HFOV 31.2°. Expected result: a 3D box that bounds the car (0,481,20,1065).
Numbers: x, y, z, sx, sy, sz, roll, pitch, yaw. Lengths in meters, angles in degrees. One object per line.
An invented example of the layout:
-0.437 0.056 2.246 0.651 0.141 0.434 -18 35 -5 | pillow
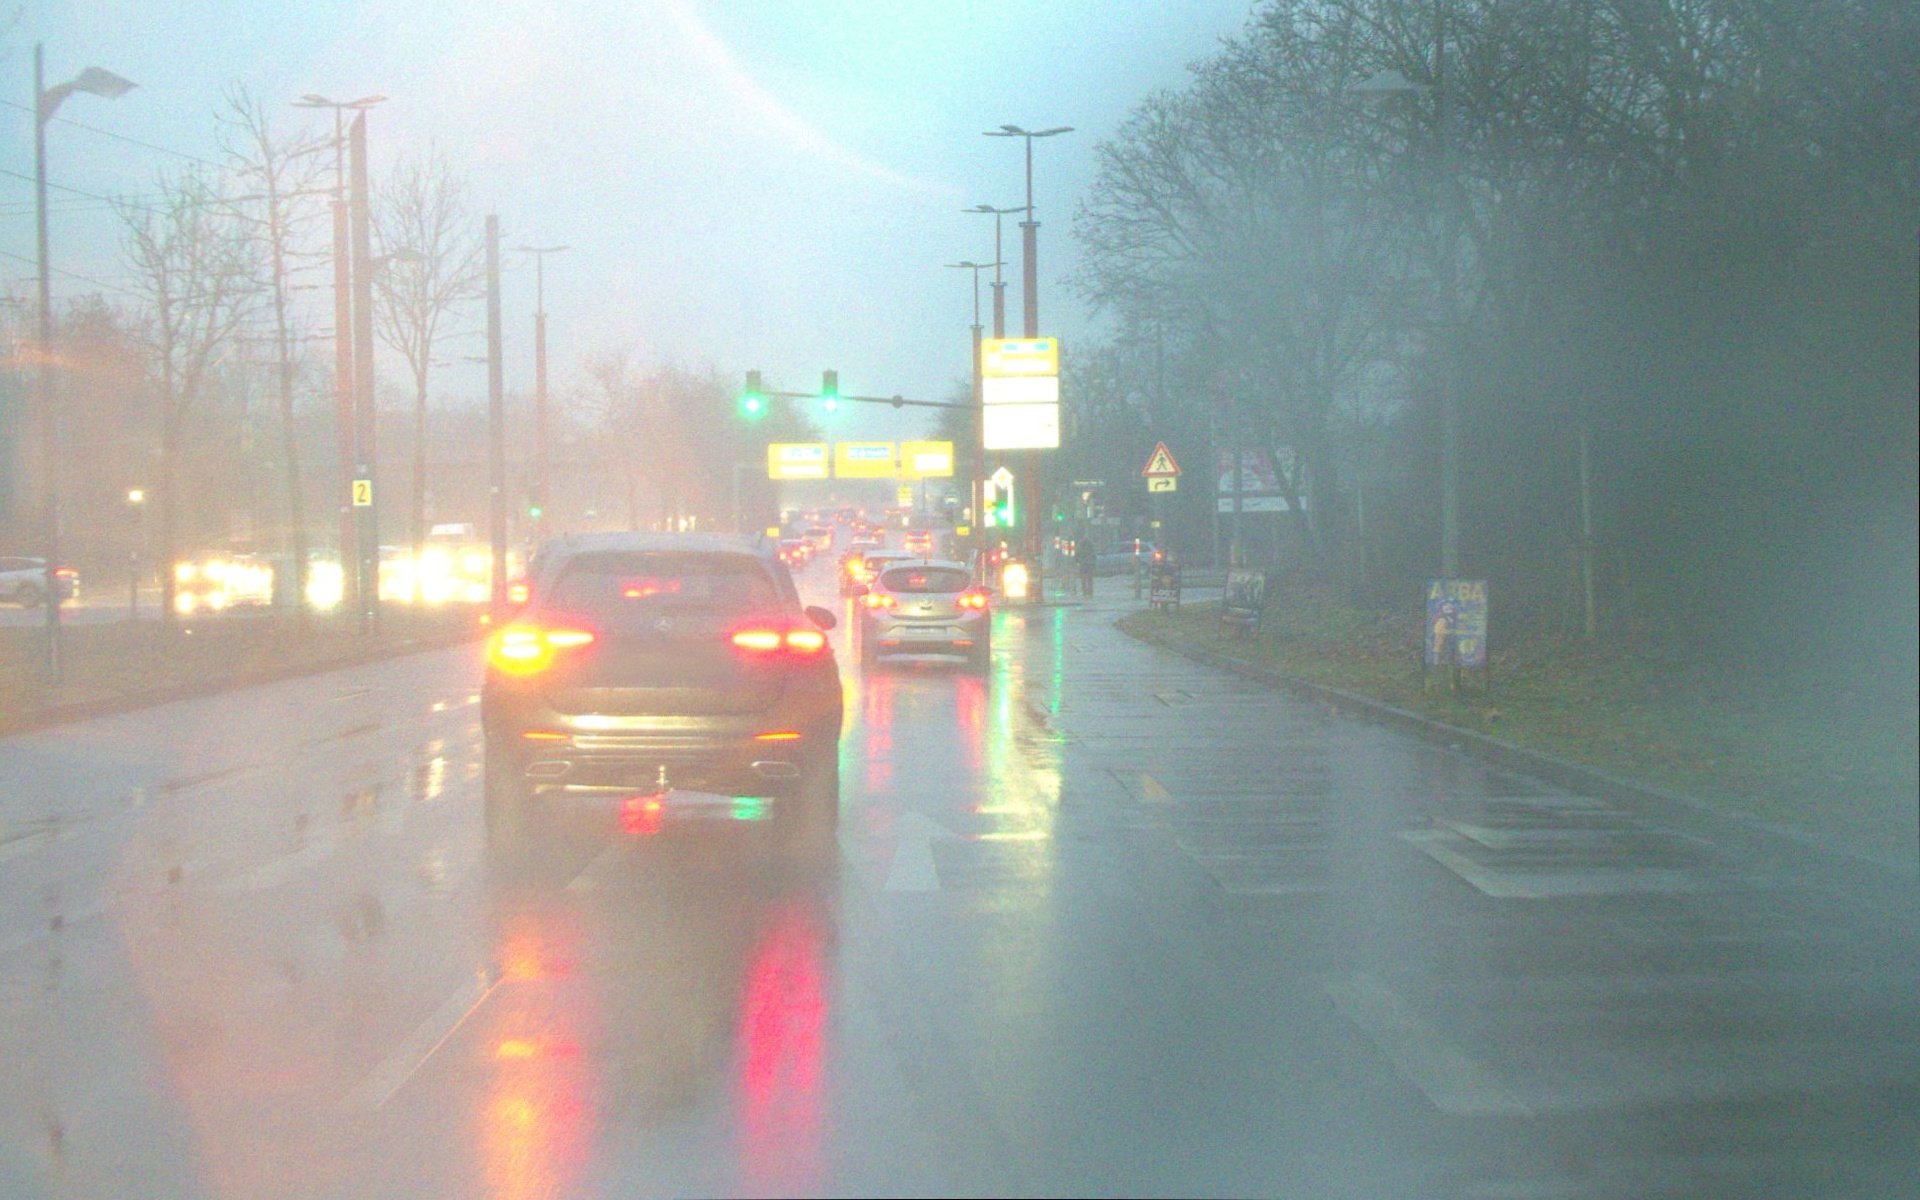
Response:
-3.525 0.522 7.780 1.714 1.642 4.147 -1 1 -1 | car

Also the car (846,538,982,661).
-0.659 -0.036 48.597 1.822 1.642 4.467 0 1 -1 | car

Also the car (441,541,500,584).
-18.785 -1.453 132.132 1.856 1.576 4.080 -1 1 -3 | car

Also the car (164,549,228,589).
-29.210 -1.200 131.562 1.618 1.490 4.017 -1 1 -1 | car

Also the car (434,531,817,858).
-1.784 0.443 19.628 1.822 1.642 4.467 -1 1 -1 | car

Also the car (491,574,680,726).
-4.322 0.540 40.174 1.822 1.642 4.000 -1 1 -1 | car

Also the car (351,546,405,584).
-22.514 -1.368 133.058 1.652 1.415 3.327 -1 1 -2 | car
